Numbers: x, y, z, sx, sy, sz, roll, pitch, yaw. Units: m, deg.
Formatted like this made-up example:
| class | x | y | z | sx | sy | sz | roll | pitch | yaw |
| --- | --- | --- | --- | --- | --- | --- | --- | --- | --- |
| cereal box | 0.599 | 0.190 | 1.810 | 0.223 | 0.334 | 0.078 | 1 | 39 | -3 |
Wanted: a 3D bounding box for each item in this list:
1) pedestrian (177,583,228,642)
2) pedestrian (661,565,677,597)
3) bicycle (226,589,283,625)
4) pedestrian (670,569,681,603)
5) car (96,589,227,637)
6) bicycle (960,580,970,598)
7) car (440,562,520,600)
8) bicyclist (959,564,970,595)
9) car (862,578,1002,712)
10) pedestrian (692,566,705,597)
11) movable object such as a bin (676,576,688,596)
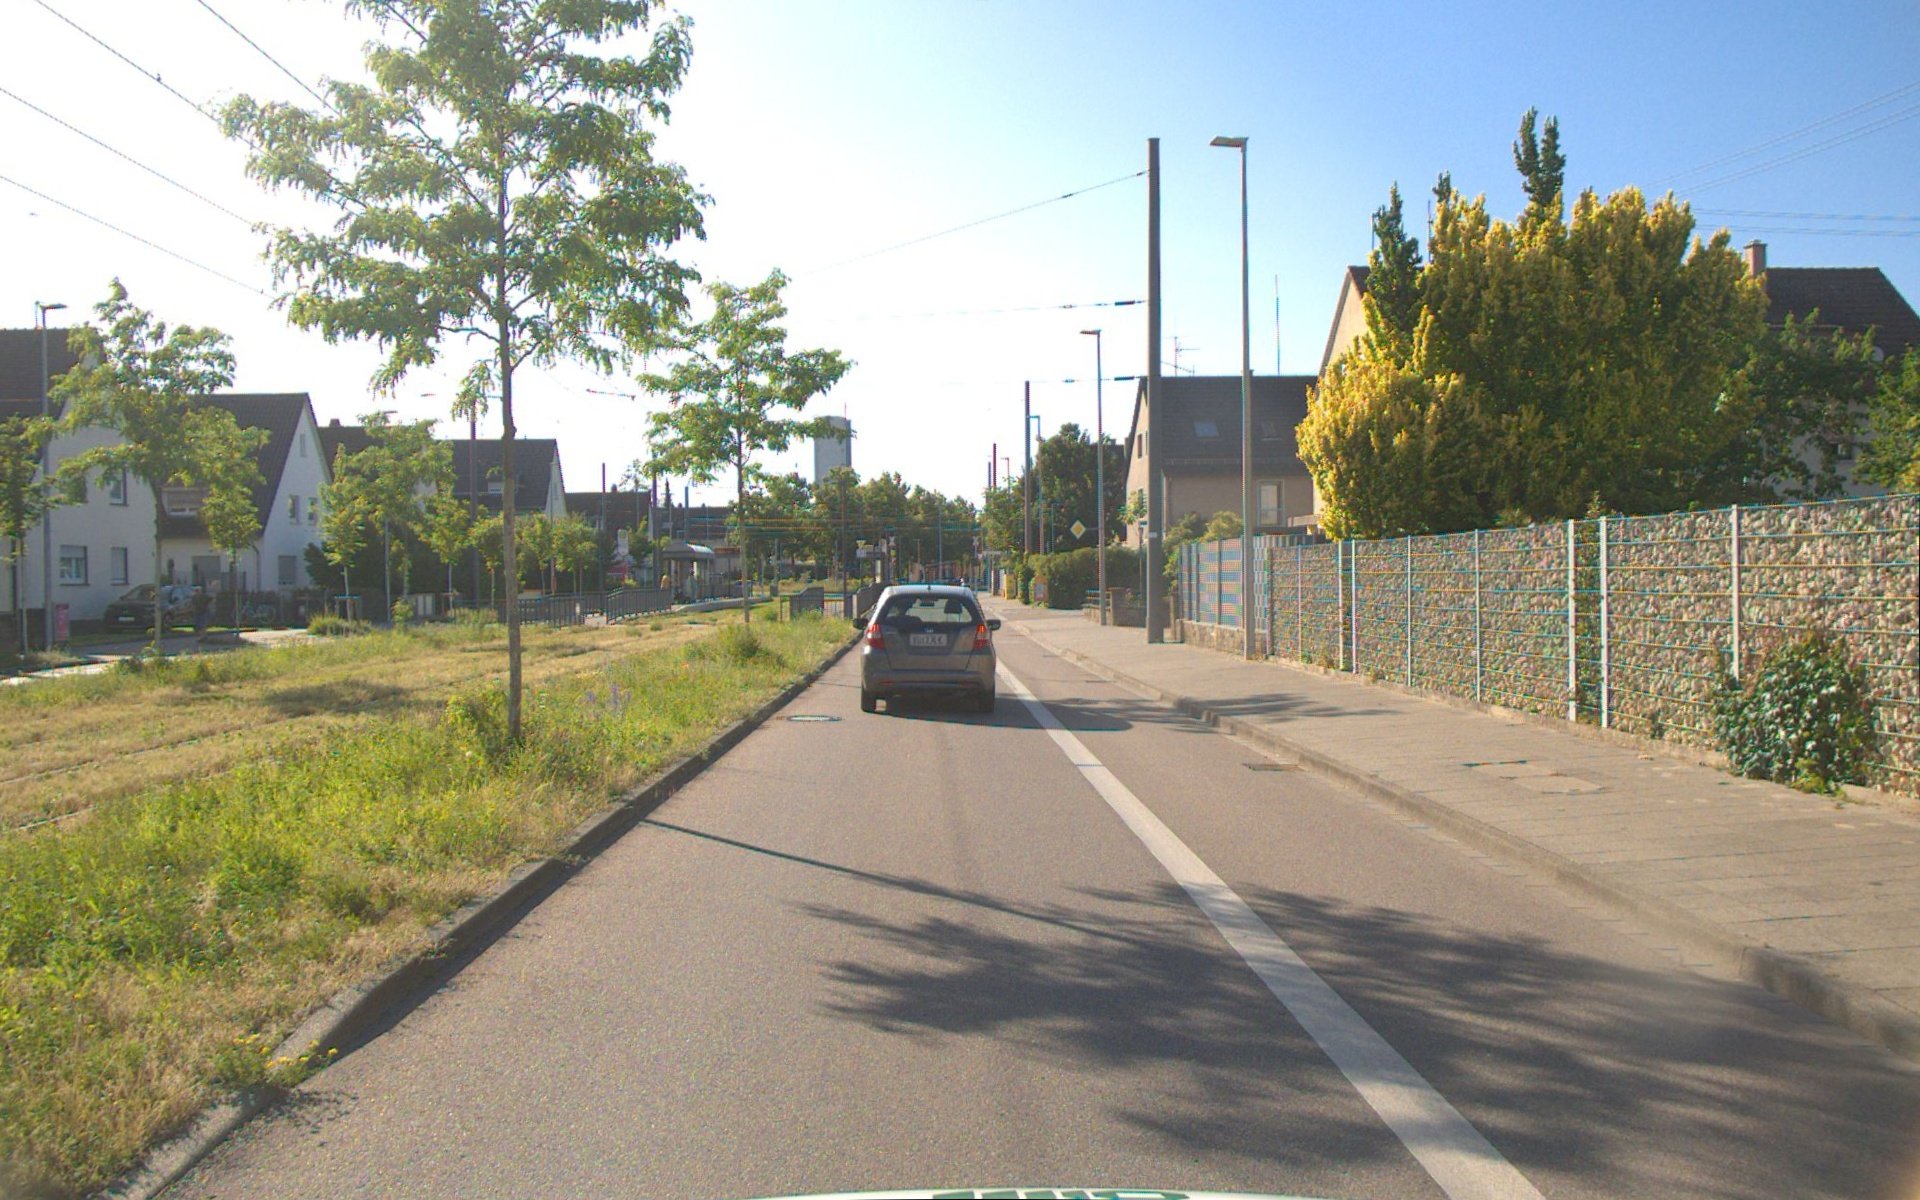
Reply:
| class | x | y | z | sx | sy | sz | roll | pitch | yaw |
| --- | --- | --- | --- | --- | --- | --- | --- | --- | --- |
| pedestrian | -21.804 | 0.348 | 47.611 | 0.945 | 1.669 | 1.085 | -1 | 0 | -1 |
| pedestrian | -14.563 | -0.965 | 82.779 | 0.662 | 1.562 | 0.748 | -1 | 1 | -6 |
| bicycle | -28.299 | 0.287 | 66.336 | 1.951 | 1.389 | 0.704 | -1 | 0 | -8 |
| pedestrian | -14.572 | -0.731 | 84.743 | 0.509 | 1.738 | 0.580 | -1 | 1 | -6 |
| car | -26.327 | 0.389 | 54.726 | 1.895 | 1.475 | 5.161 | -1 | 1 | -1 |
| bicycle | 0.269 | -0.627 | 90.970 | 0.465 | 0.978 | 1.657 | 1 | 0 | -1 |
| car | -26.126 | -0.998 | 90.114 | 3.913 | 2.004 | 1.929 | 1 | 0 | -9 |
| bicyclist | 0.260 | -1.124 | 90.813 | 0.586 | 1.731 | 0.683 | 1 | 0 | -1 |
| car | -0.388 | 0.515 | 21.214 | 1.637 | 1.562 | 3.486 | 1 | 0 | -2 |
| pedestrian | -14.550 | -1.022 | 92.018 | 0.490 | 1.725 | 0.771 | -3 | 1 | -1 |
| movable object such as a bin | -13.917 | -0.713 | 82.867 | 0.535 | 1.005 | 0.741 | -1 | 1 | -5 |
